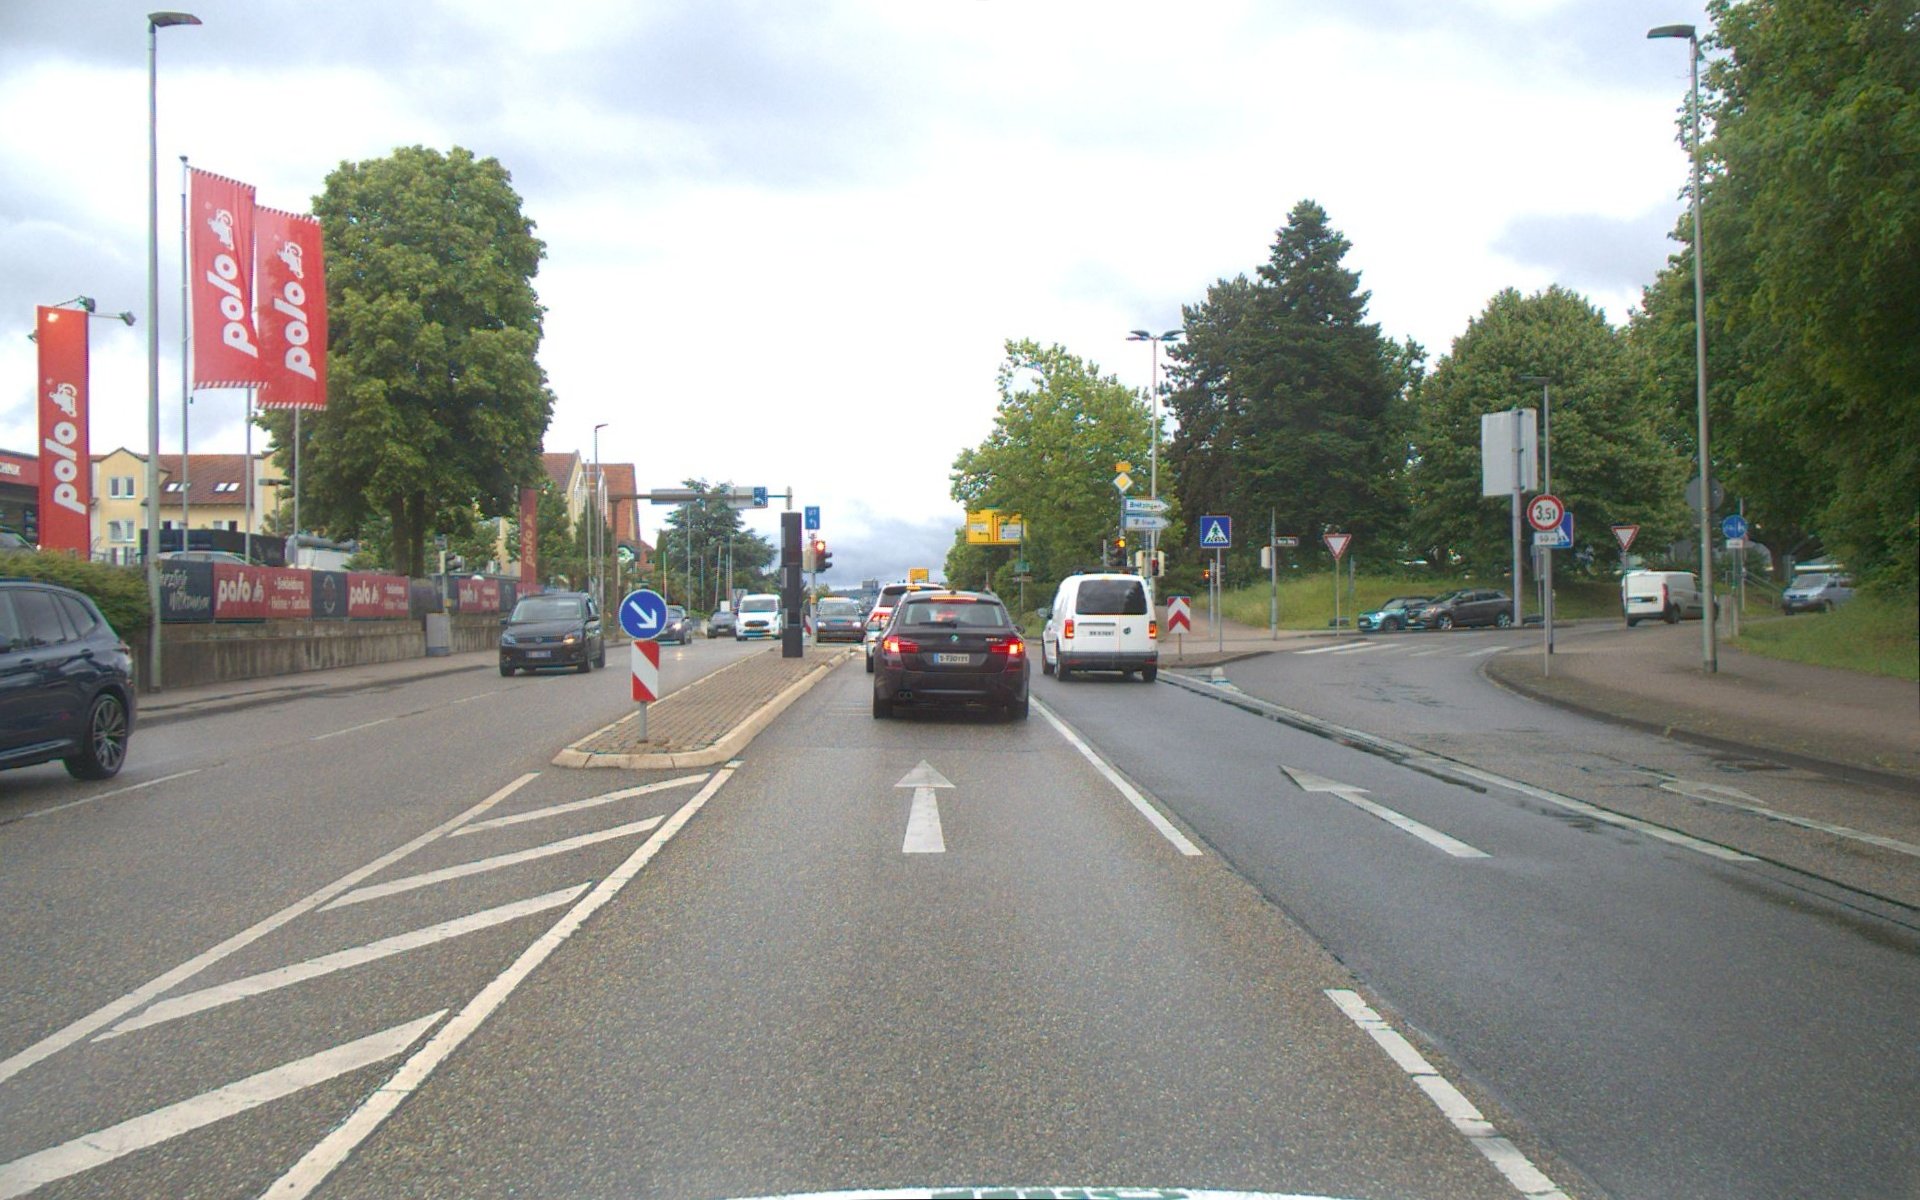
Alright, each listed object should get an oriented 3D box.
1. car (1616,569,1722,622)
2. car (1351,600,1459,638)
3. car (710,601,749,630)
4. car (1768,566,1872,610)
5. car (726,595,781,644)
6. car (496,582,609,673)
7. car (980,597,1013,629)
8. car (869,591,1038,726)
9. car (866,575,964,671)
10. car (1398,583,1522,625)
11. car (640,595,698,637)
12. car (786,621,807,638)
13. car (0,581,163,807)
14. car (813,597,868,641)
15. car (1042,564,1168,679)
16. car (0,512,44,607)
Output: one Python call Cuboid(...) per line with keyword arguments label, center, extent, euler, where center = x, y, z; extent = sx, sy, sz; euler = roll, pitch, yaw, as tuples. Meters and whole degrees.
Cuboid(label="car", center=(25.010, -0.177, 58.298), extent=(3.906, 1.738, 1.795), euler=(-2, 2, -38))
Cuboid(label="car", center=(17.701, 0.743, 65.771), extent=(3.928, 1.316, 1.600), euler=(-2, 1, -20))
Cuboid(label="car", center=(-12.238, 0.804, 88.060), extent=(1.634, 1.406, 4.070), euler=(-1, 0, -2))
Cuboid(label="car", center=(38.665, -0.565, 74.341), extent=(4.674, 1.883, 1.883), euler=(-1, 2, -29))
Cuboid(label="car", center=(-8.394, 0.762, 67.582), extent=(1.821, 1.855, 4.576), euler=(-2, 0, -3))
Cuboid(label="car", center=(-8.355, 0.515, 34.243), extent=(1.723, 1.706, 4.142), euler=(-2, 1, -7))
Cuboid(label="car", center=(1.796, 0.641, 82.234), extent=(1.567, 1.395, 3.680), euler=(-1, 2, 0))
Cuboid(label="car", center=(-0.040, 0.634, 19.975), extent=(1.816, 1.444, 3.957), euler=(1, 0, 1))
Cuboid(label="car", center=(-0.828, 0.413, 32.129), extent=(1.692, 1.741, 3.383), euler=(1, 0, 2))
Cuboid(label="car", center=(19.021, 0.147, 62.913), extent=(4.253, 1.492, 1.889), euler=(-1, 0, -20))
Cuboid(label="car", center=(-10.707, 0.571, 61.068), extent=(1.602, 1.406, 3.763), euler=(-2, 1, -3))
Cuboid(label="car", center=(-14.562, 2.611, 147.494), extent=(1.634, 1.377, 3.441), euler=(-1, 0, -2))
Cuboid(label="car", center=(-7.886, 0.716, 12.464), extent=(1.716, 1.638, 4.530), euler=(-2, 1, -3))
Cuboid(label="car", center=(-4.279, 0.665, 58.981), extent=(1.857, 1.481, 4.093), euler=(-1, 0, -5))
Cuboid(label="car", center=(2.520, 0.337, 29.550), extent=(1.707, 1.902, 3.944), euler=(1, 1, -3))
Cuboid(label="car", center=(-17.214, -0.639, 27.237), extent=(3.347, 1.536, 1.582), euler=(-1, 0, -3))
